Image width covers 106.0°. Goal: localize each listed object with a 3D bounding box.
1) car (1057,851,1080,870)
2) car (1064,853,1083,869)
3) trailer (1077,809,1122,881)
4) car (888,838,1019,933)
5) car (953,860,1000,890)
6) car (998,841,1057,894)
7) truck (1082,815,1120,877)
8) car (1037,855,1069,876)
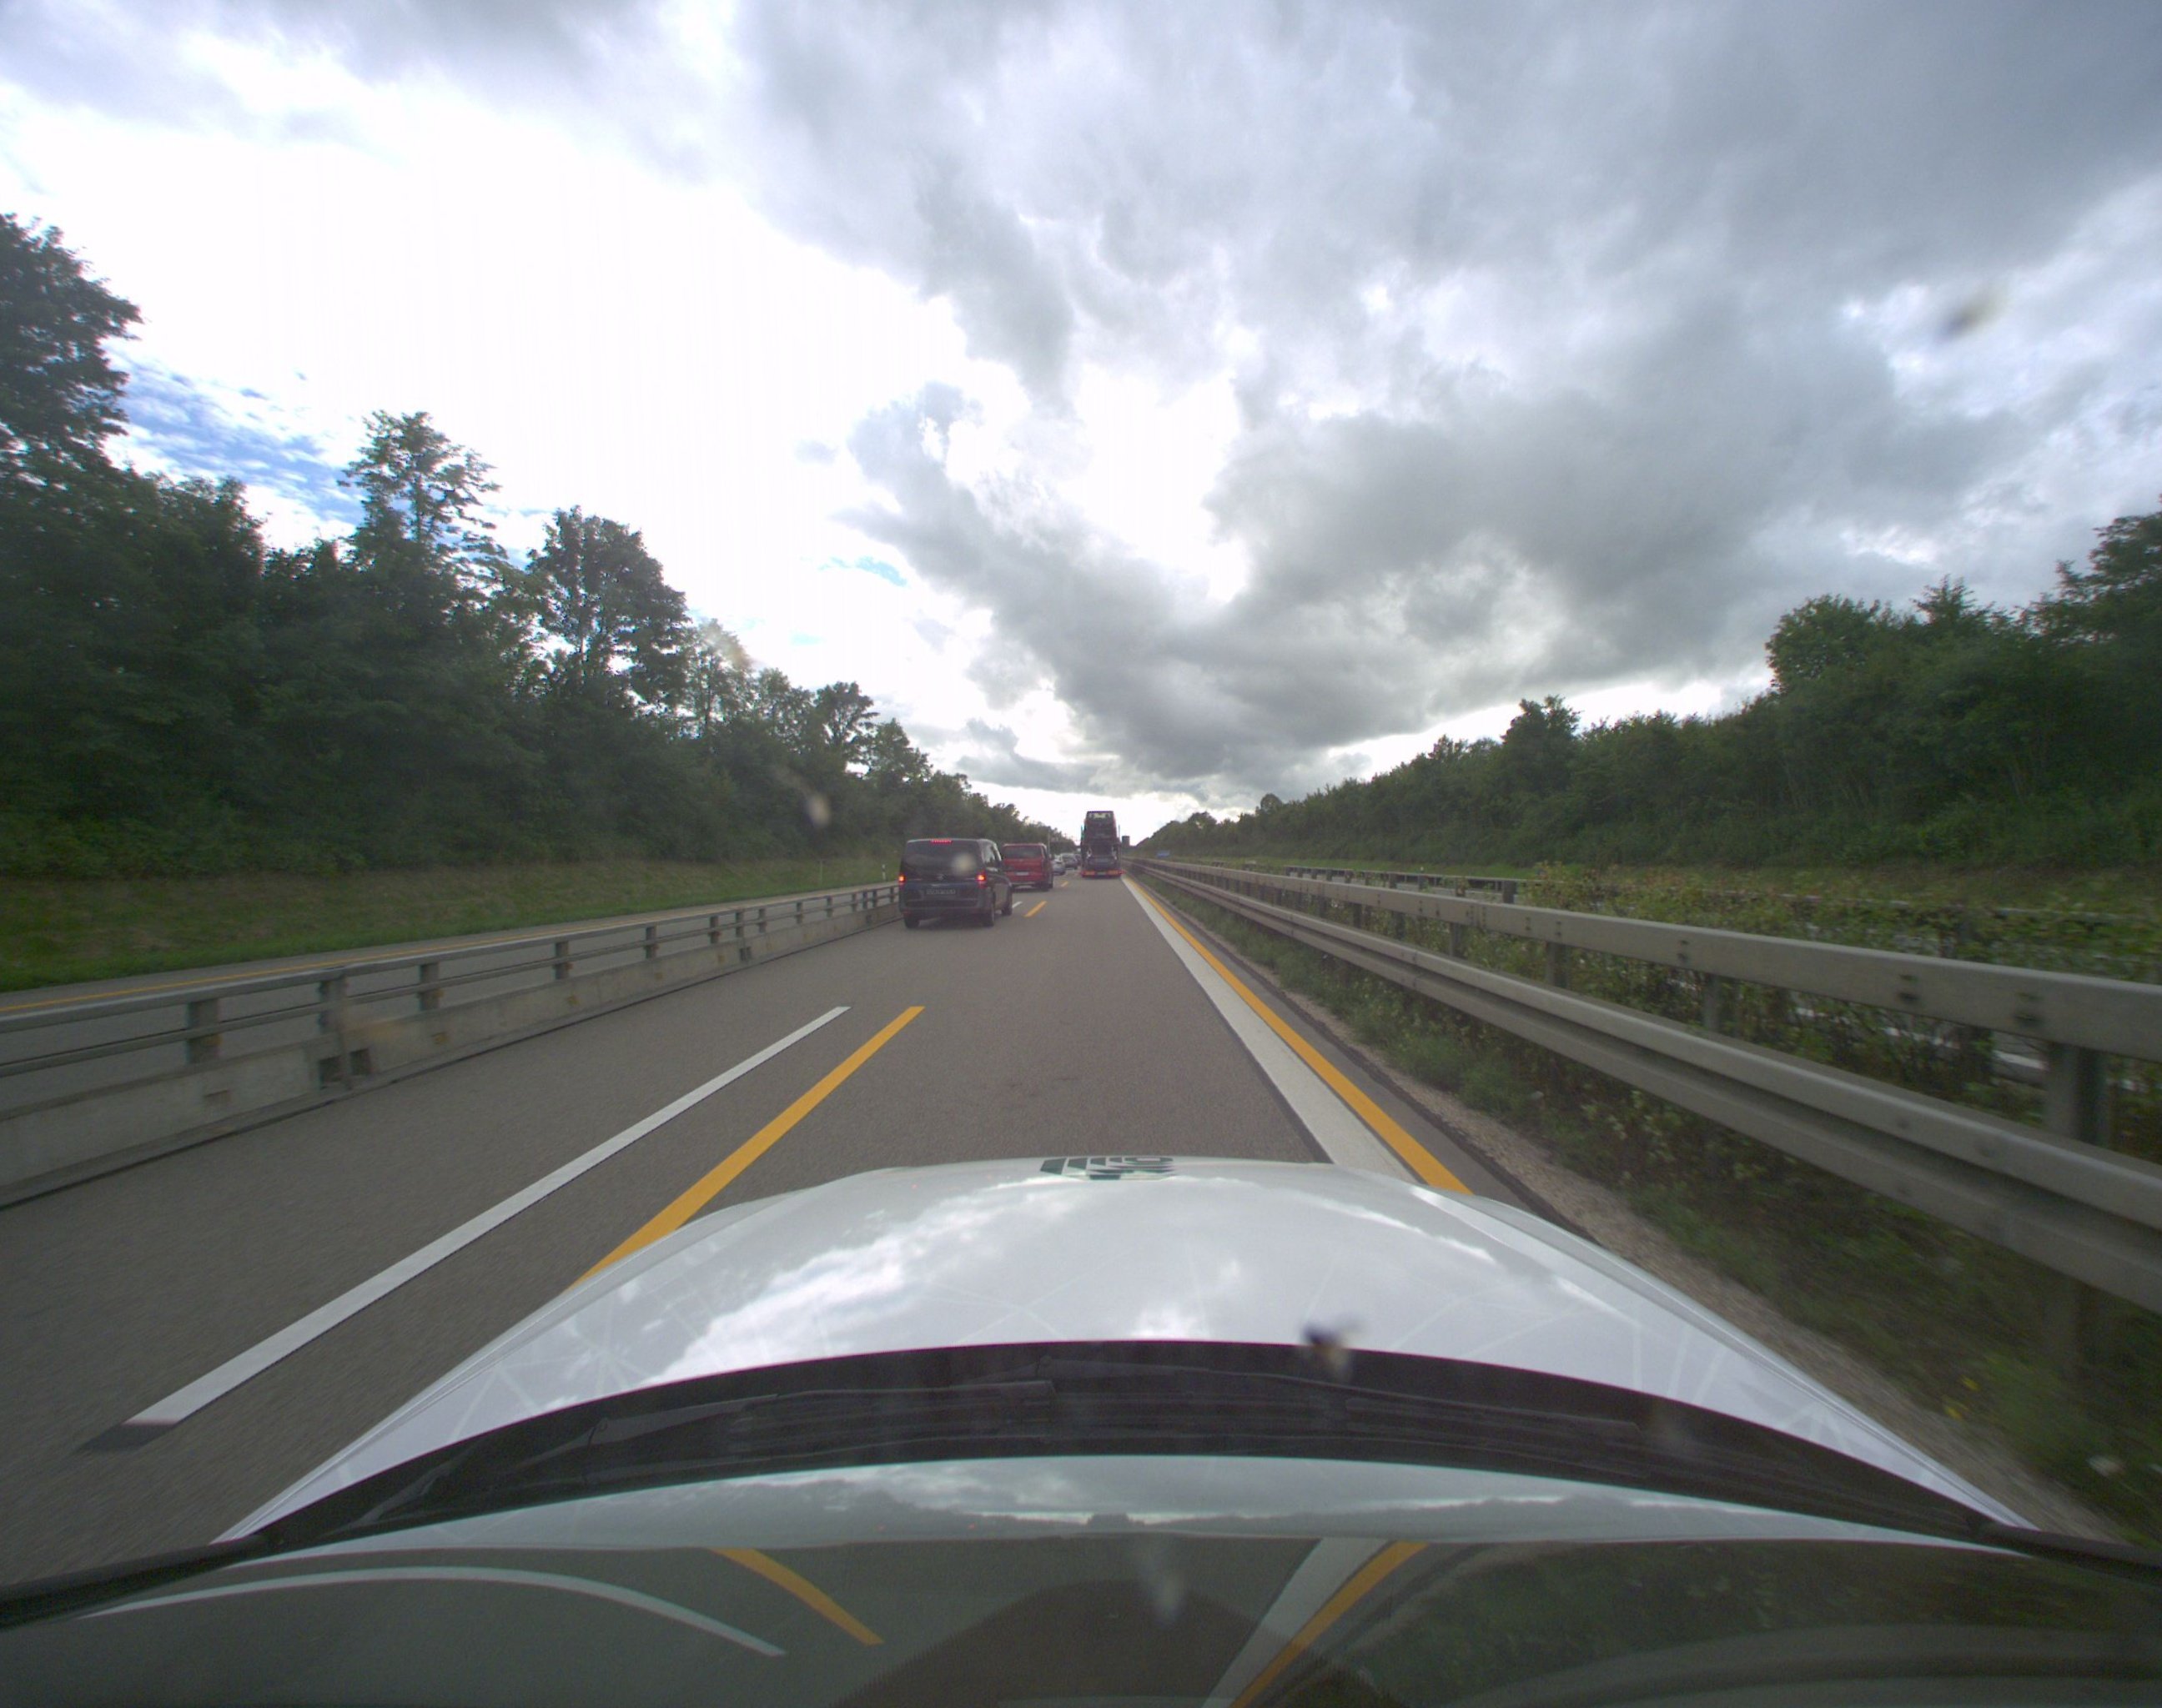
[{"bbox_3d":[-1.181,0.599,80.017,2.024,1.757,4.578,-1,0,1],"label":"car"},{"bbox_3d":[-0.841,0.762,93.838,2.024,1.757,4.578,-1,0,0],"label":"car"},{"bbox_3d":[1.255,-0.527,52.499,2.506,4.105,11.118,-1,0,2],"label":"trailer"},{"bbox_3d":[-2.758,0.633,19.000,1.986,1.843,5.611,-2,0,1],"label":"car"},{"bbox_3d":[-5.554,1.086,43.753,1.928,1.490,4.588,0,0,0],"label":"car"},{"bbox_3d":[-2.180,0.533,34.369,2.024,2.013,4.579,-1,0,1],"label":"car"},{"bbox_3d":[1.424,-0.512,57.211,2.506,4.105,5.687,-1,0,2],"label":"truck"},{"bbox_3d":[-1.996,0.782,59.227,2.024,1.430,4.578,-1,0,1],"label":"car"}]
